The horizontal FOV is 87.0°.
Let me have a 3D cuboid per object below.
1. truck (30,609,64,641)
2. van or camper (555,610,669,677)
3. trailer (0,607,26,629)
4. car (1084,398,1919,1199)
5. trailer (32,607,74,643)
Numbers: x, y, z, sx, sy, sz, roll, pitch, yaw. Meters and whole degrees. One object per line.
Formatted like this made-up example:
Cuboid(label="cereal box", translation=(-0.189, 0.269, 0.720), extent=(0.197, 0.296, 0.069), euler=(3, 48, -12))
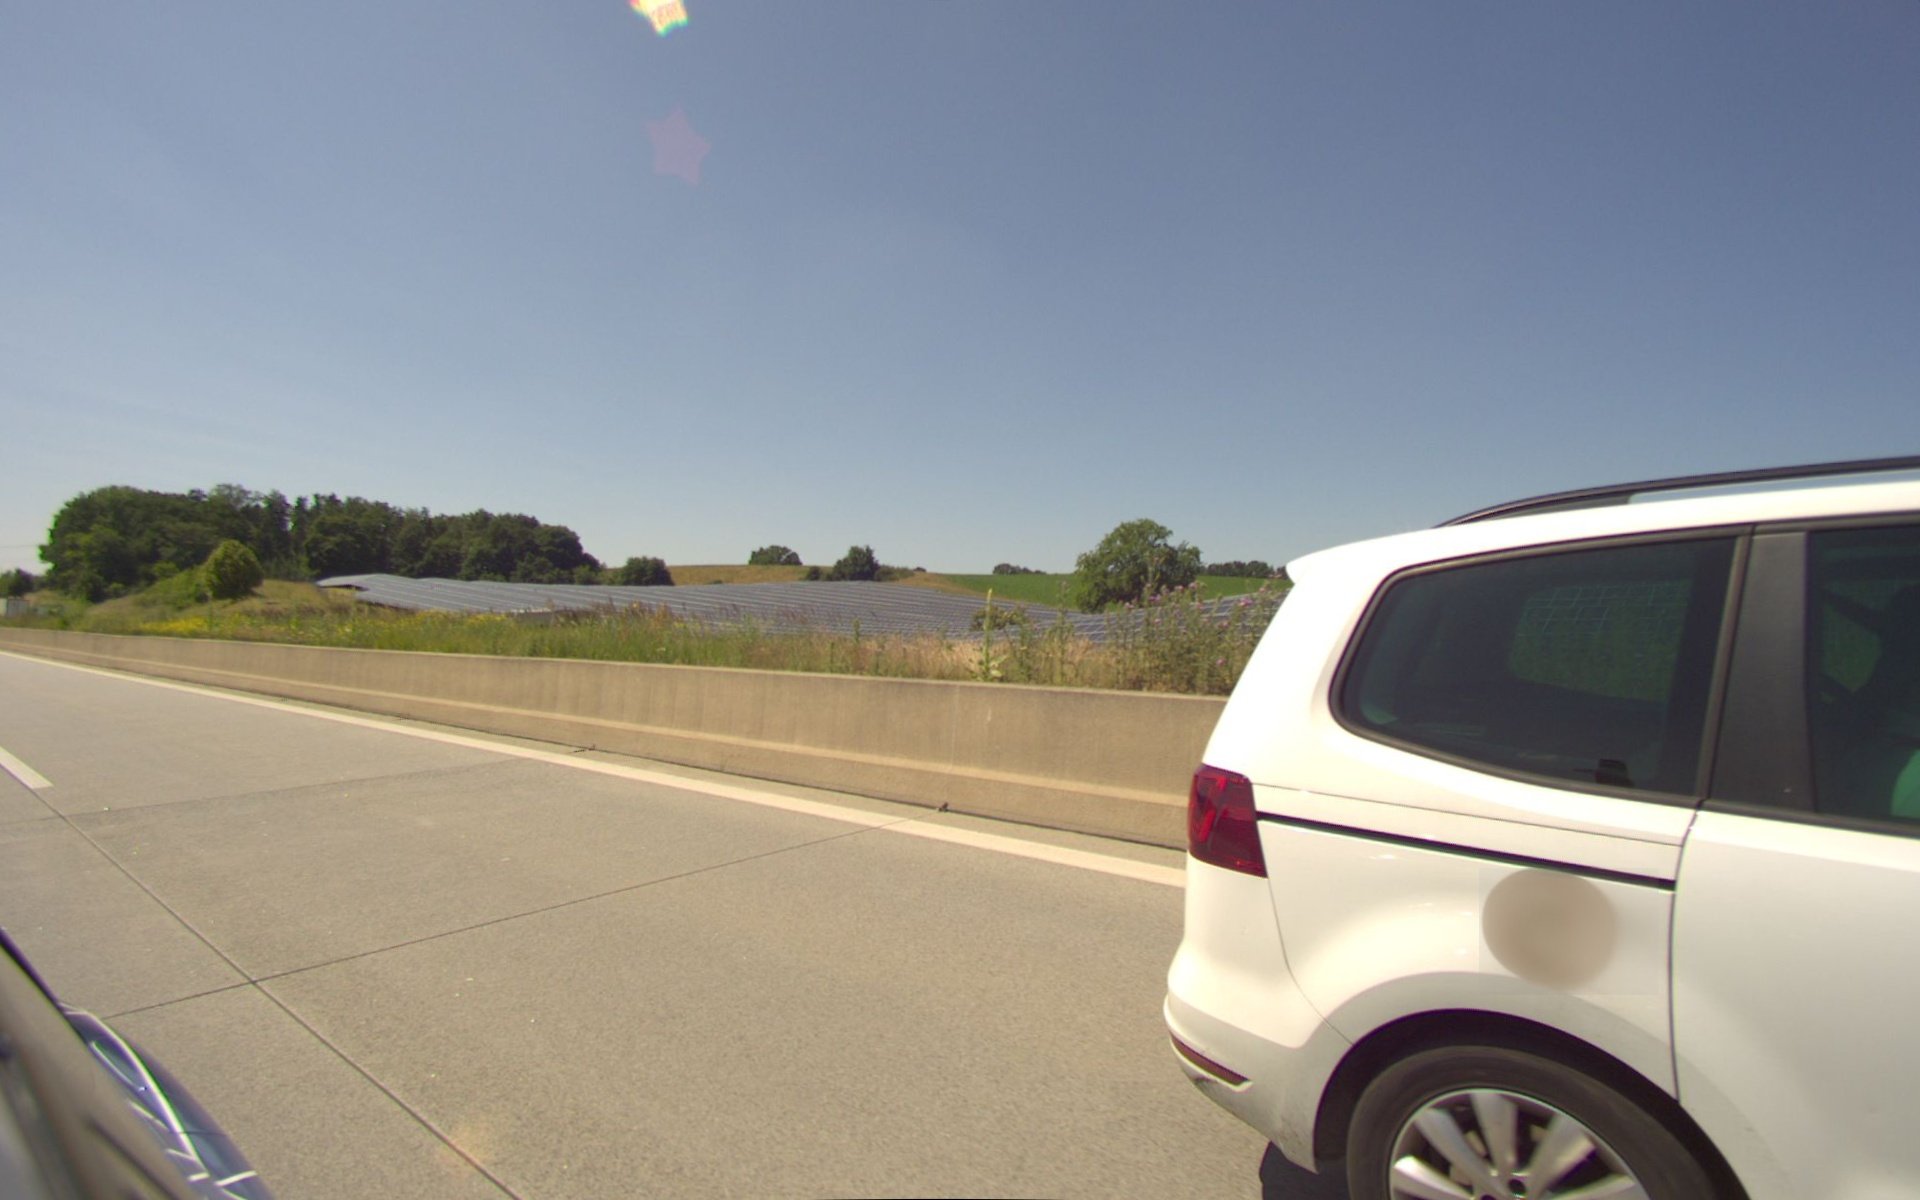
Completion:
Cuboid(label="truck", translation=(-115.404, 3.135, 127.883), extent=(4.351, 3.981, 2.716), euler=(-1, 0, 41))
Cuboid(label="van or camper", translation=(-11.178, 1.335, 32.403), extent=(3.948, 1.985, 1.744), euler=(-1, -1, 41))
Cuboid(label="trailer", translation=(-146.245, 2.706, 155.355), extent=(14.499, 3.207, 2.803), euler=(0, 0, 41))
Cuboid(label="car", translation=(3.149, 0.560, 1.021), extent=(6.033, 1.721, 1.826), euler=(-1, 0, 41))
Cuboid(label="trailer", translation=(-111.710, 3.029, 124.619), extent=(10.252, 4.223, 2.703), euler=(-1, -1, 42))
